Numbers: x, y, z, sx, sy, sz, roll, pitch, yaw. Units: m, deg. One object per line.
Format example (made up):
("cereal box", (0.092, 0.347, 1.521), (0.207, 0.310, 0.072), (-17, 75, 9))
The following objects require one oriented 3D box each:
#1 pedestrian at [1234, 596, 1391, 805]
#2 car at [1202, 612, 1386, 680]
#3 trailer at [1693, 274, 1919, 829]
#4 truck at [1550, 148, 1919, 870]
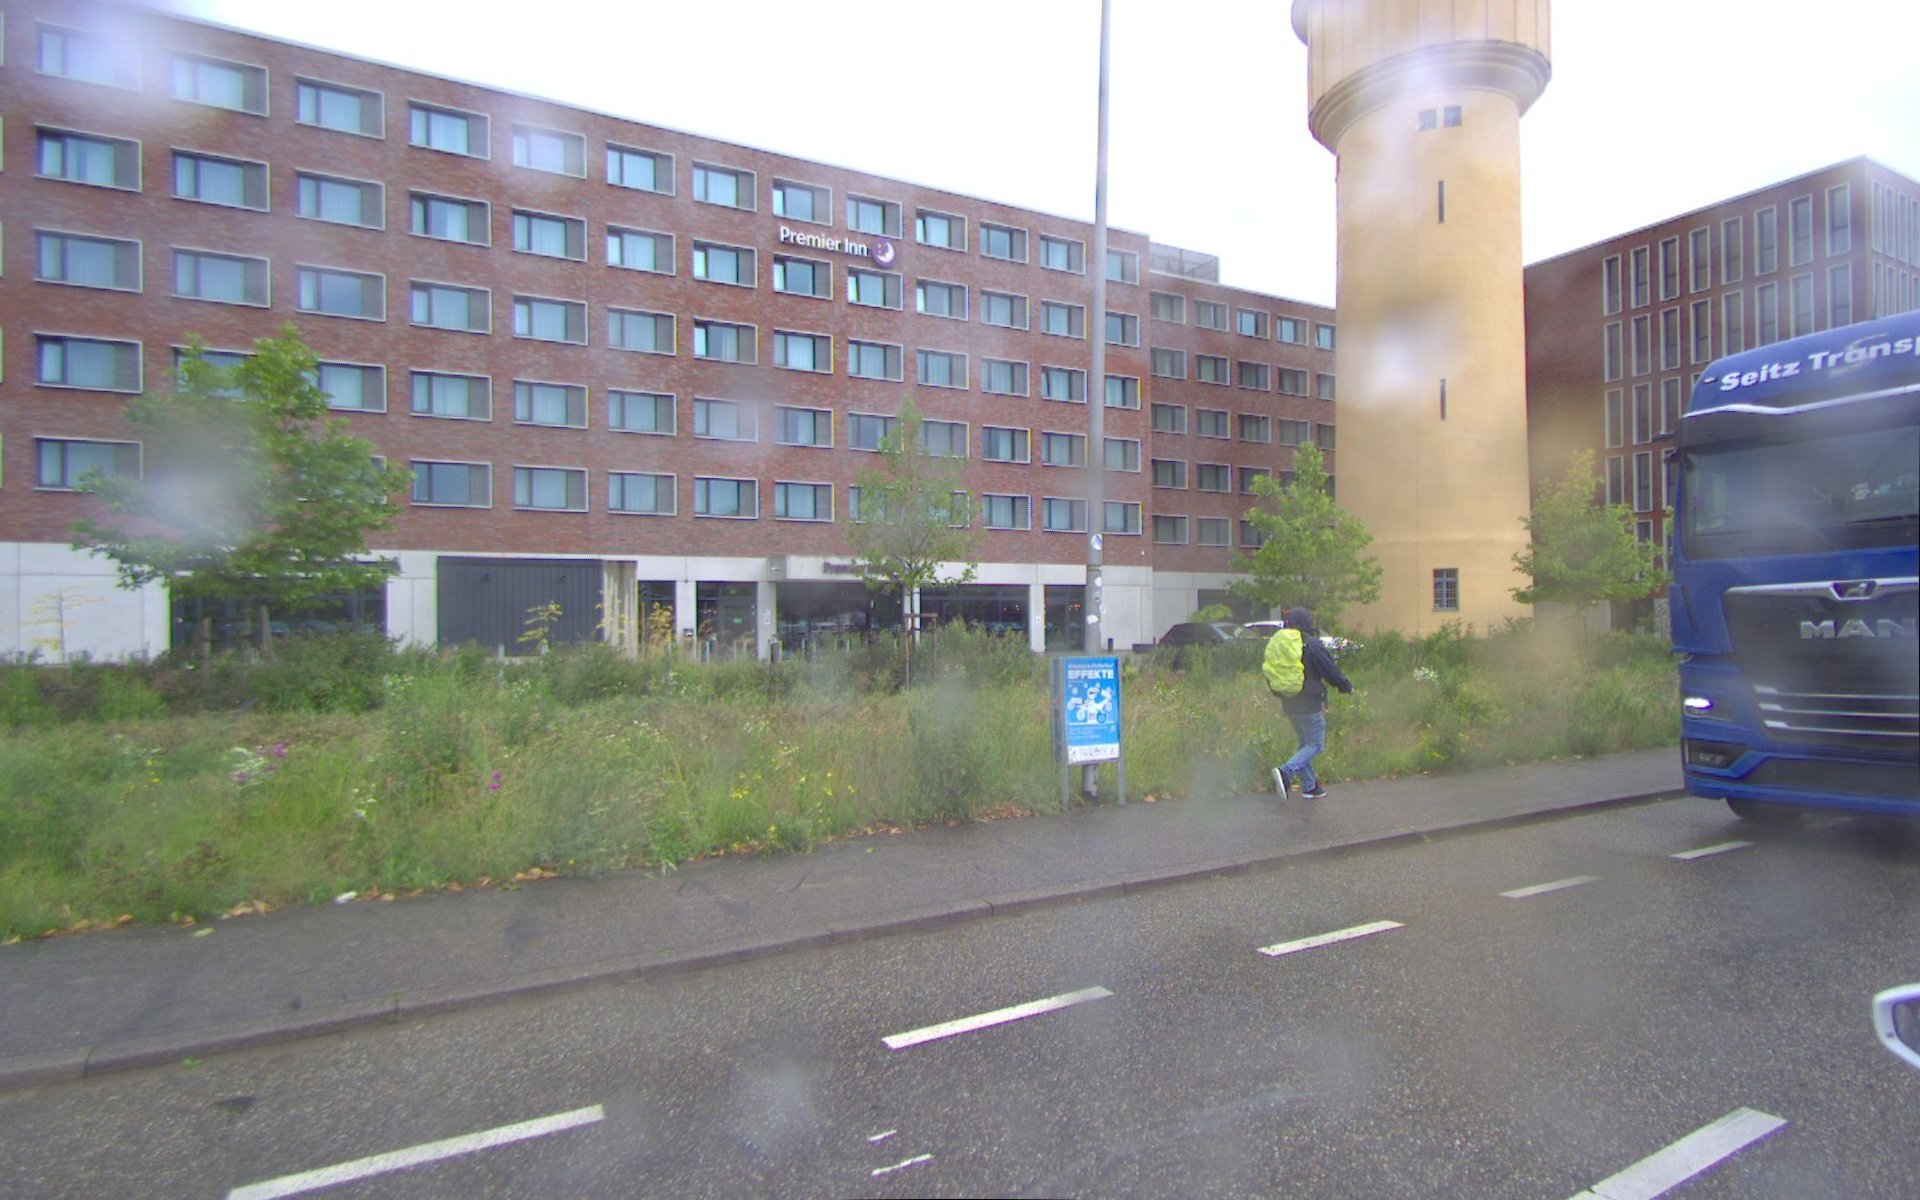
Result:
("pedestrian", (3.164, 0.858, 9.047), (1.015, 1.741, 0.904), (1, -2, -31))
("car", (8.894, 1.193, 27.091), (1.979, 1.663, 4.495), (1, -2, -33))
("trailer", (13.852, -0.295, 12.218), (13.583, 4.715, 3.276), (1, -2, -33))
("truck", (8.399, -0.530, 8.753), (5.967, 4.715, 3.276), (1, -2, -33))
